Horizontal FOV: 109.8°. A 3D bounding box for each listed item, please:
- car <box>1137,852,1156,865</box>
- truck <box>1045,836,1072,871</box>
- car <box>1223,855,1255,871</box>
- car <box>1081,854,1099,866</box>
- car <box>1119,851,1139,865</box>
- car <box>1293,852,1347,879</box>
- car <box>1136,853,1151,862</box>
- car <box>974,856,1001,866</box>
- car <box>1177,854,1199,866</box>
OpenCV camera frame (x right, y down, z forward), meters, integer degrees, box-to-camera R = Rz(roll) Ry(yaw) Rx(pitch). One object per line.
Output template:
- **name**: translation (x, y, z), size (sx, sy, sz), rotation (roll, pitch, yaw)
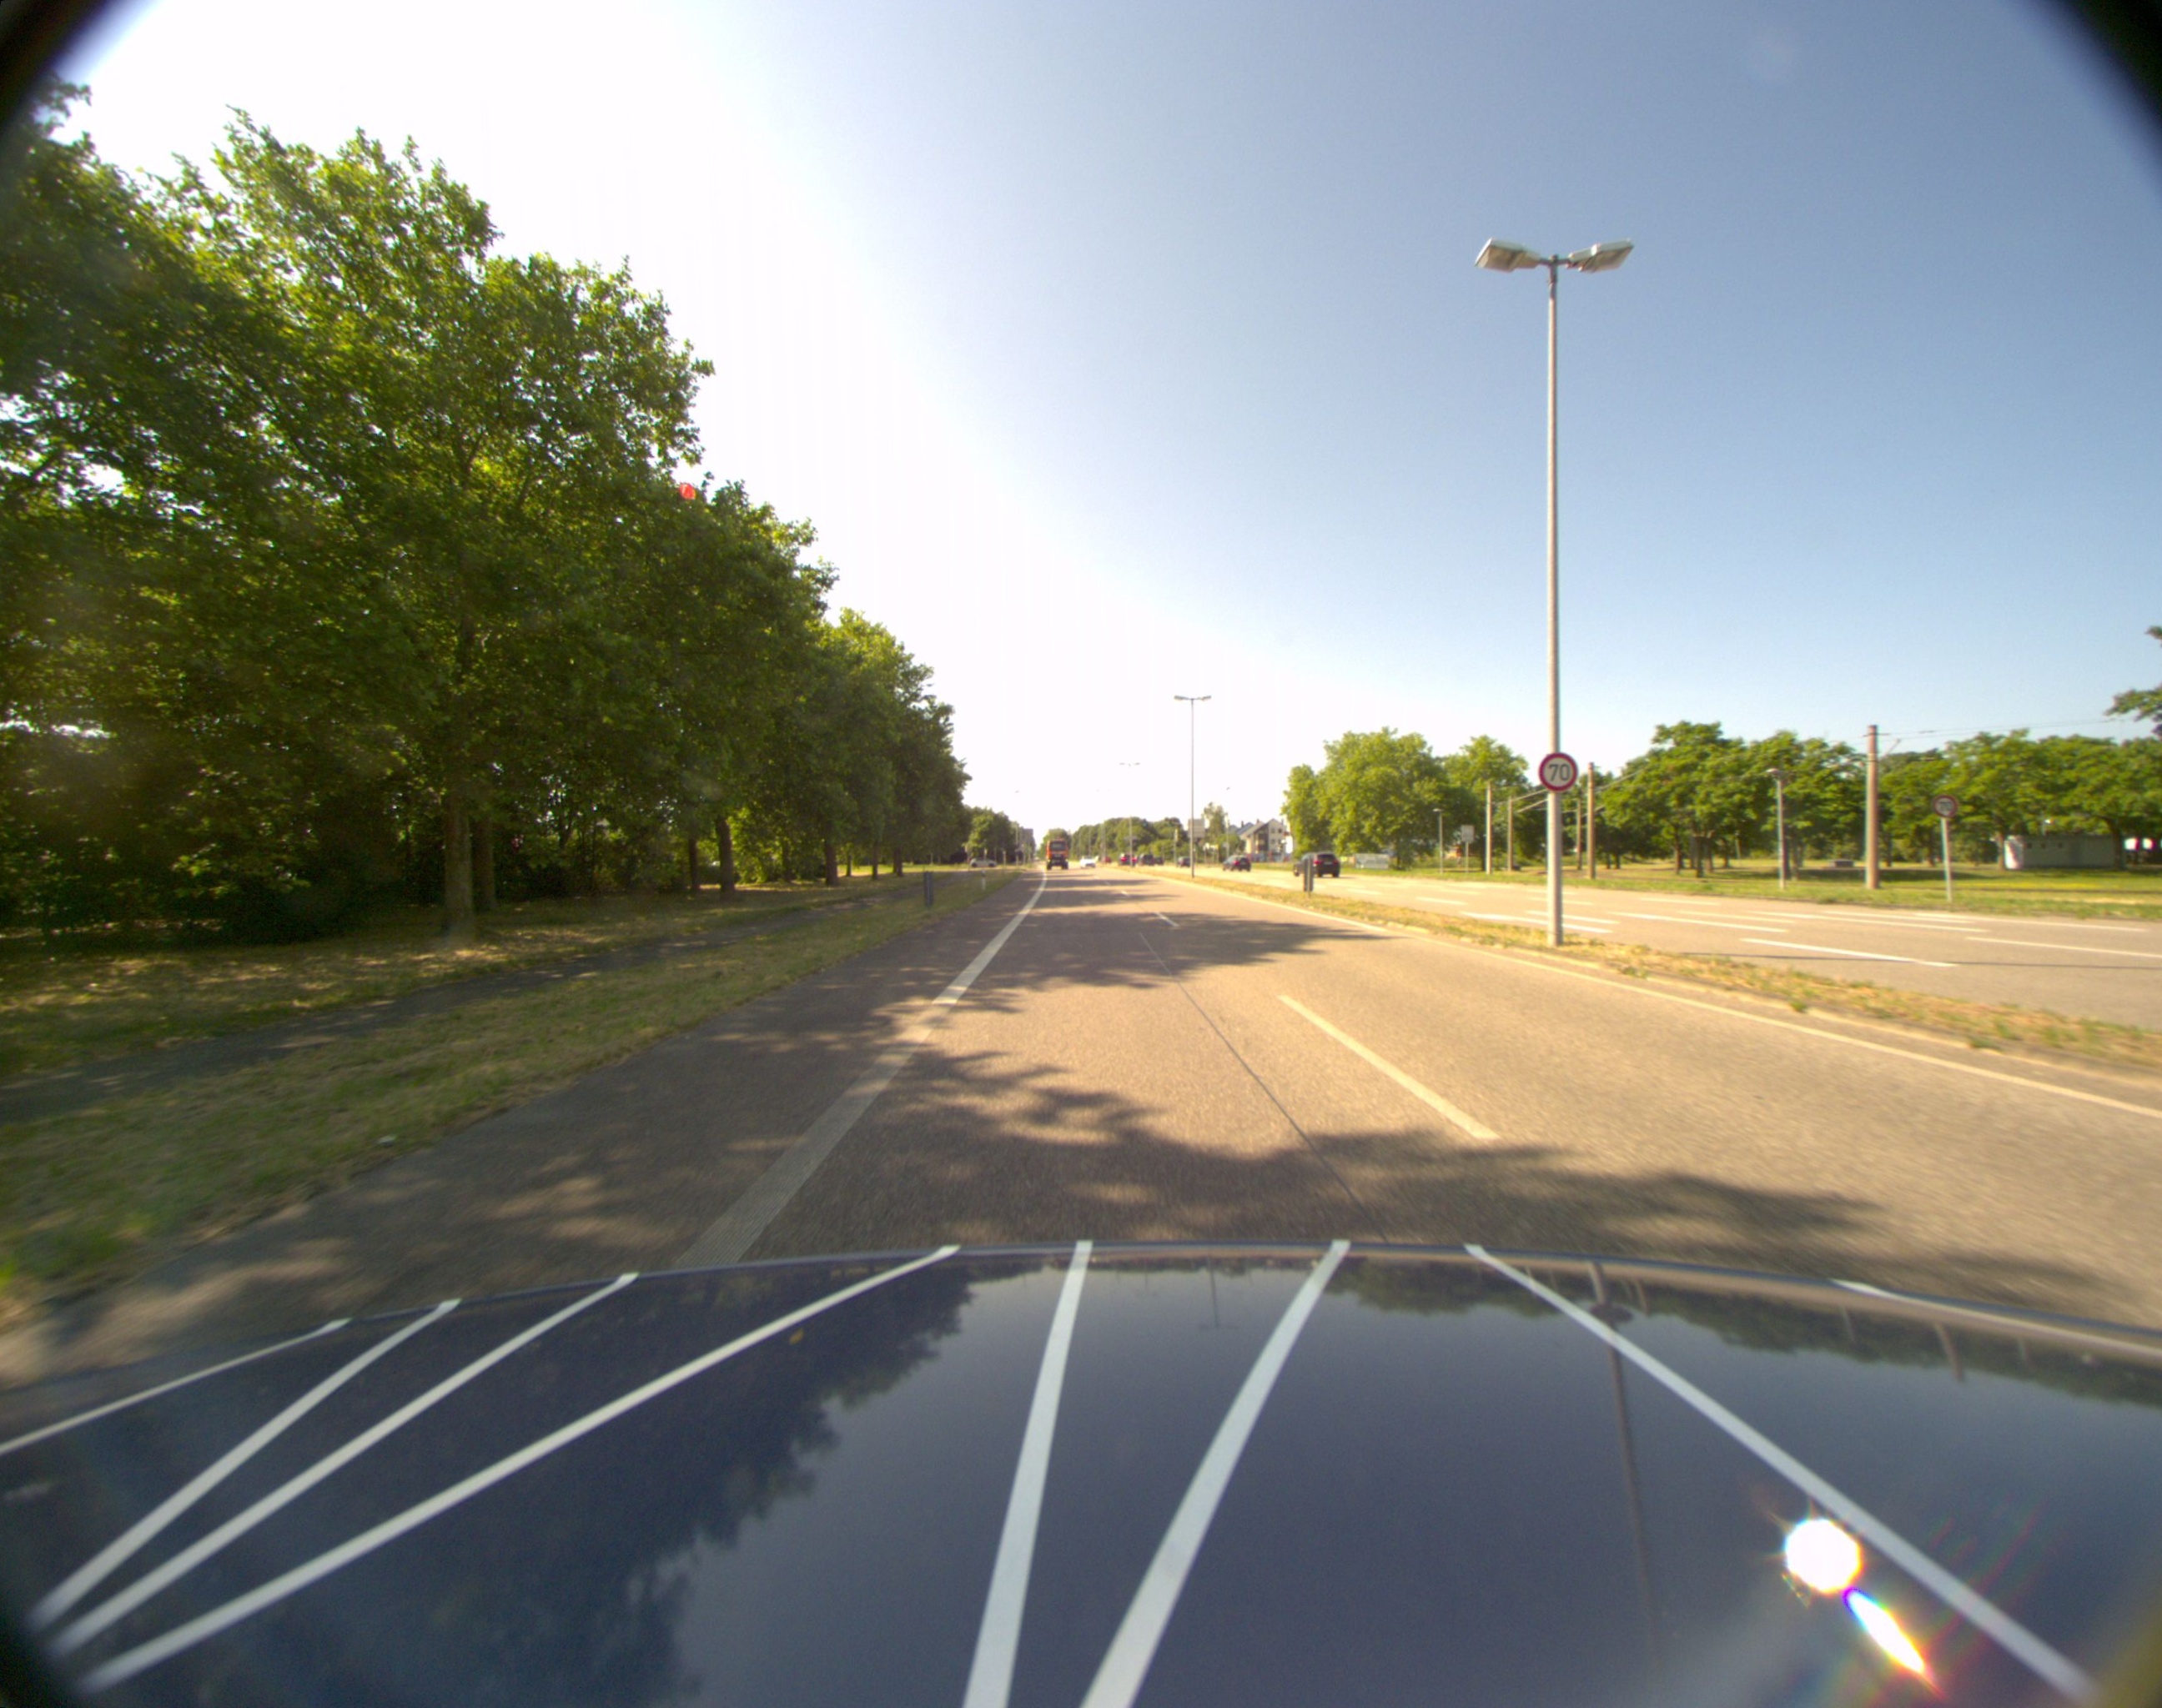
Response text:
- **car**: translation (9.167, 0.569, 106.465), size (1.987, 1.769, 4.488), rotation (0, 0, -4)
- **truck**: translation (-2.683, -0.100, 88.889), size (2.941, 3.852, 6.588), rotation (-2, 1, -3)
- **car**: translation (14.676, 0.807, 70.771), size (1.836, 1.457, 4.468), rotation (0, 0, -3)
- **car**: translation (1.082, 0.768, 96.392), size (1.870, 1.499, 4.335), rotation (-1, 0, -5)
- **car**: translation (6.092, 0.489, 96.913), size (1.987, 1.740, 4.506), rotation (-1, 0, -3)
- **car**: translation (15.679, 0.726, 50.147), size (1.987, 1.650, 4.554), rotation (0, 0, -2)
- **car**: translation (11.541, 0.614, 139.612), size (2.077, 1.613, 4.488), rotation (0, 0, -4)
- **car**: translation (-14.285, 1.106, 116.495), size (4.063, 1.555, 1.742), rotation (0, 0, -4)
- **car**: translation (13.462, 0.732, 95.649), size (1.868, 1.536, 4.405), rotation (1, 0, -3)
